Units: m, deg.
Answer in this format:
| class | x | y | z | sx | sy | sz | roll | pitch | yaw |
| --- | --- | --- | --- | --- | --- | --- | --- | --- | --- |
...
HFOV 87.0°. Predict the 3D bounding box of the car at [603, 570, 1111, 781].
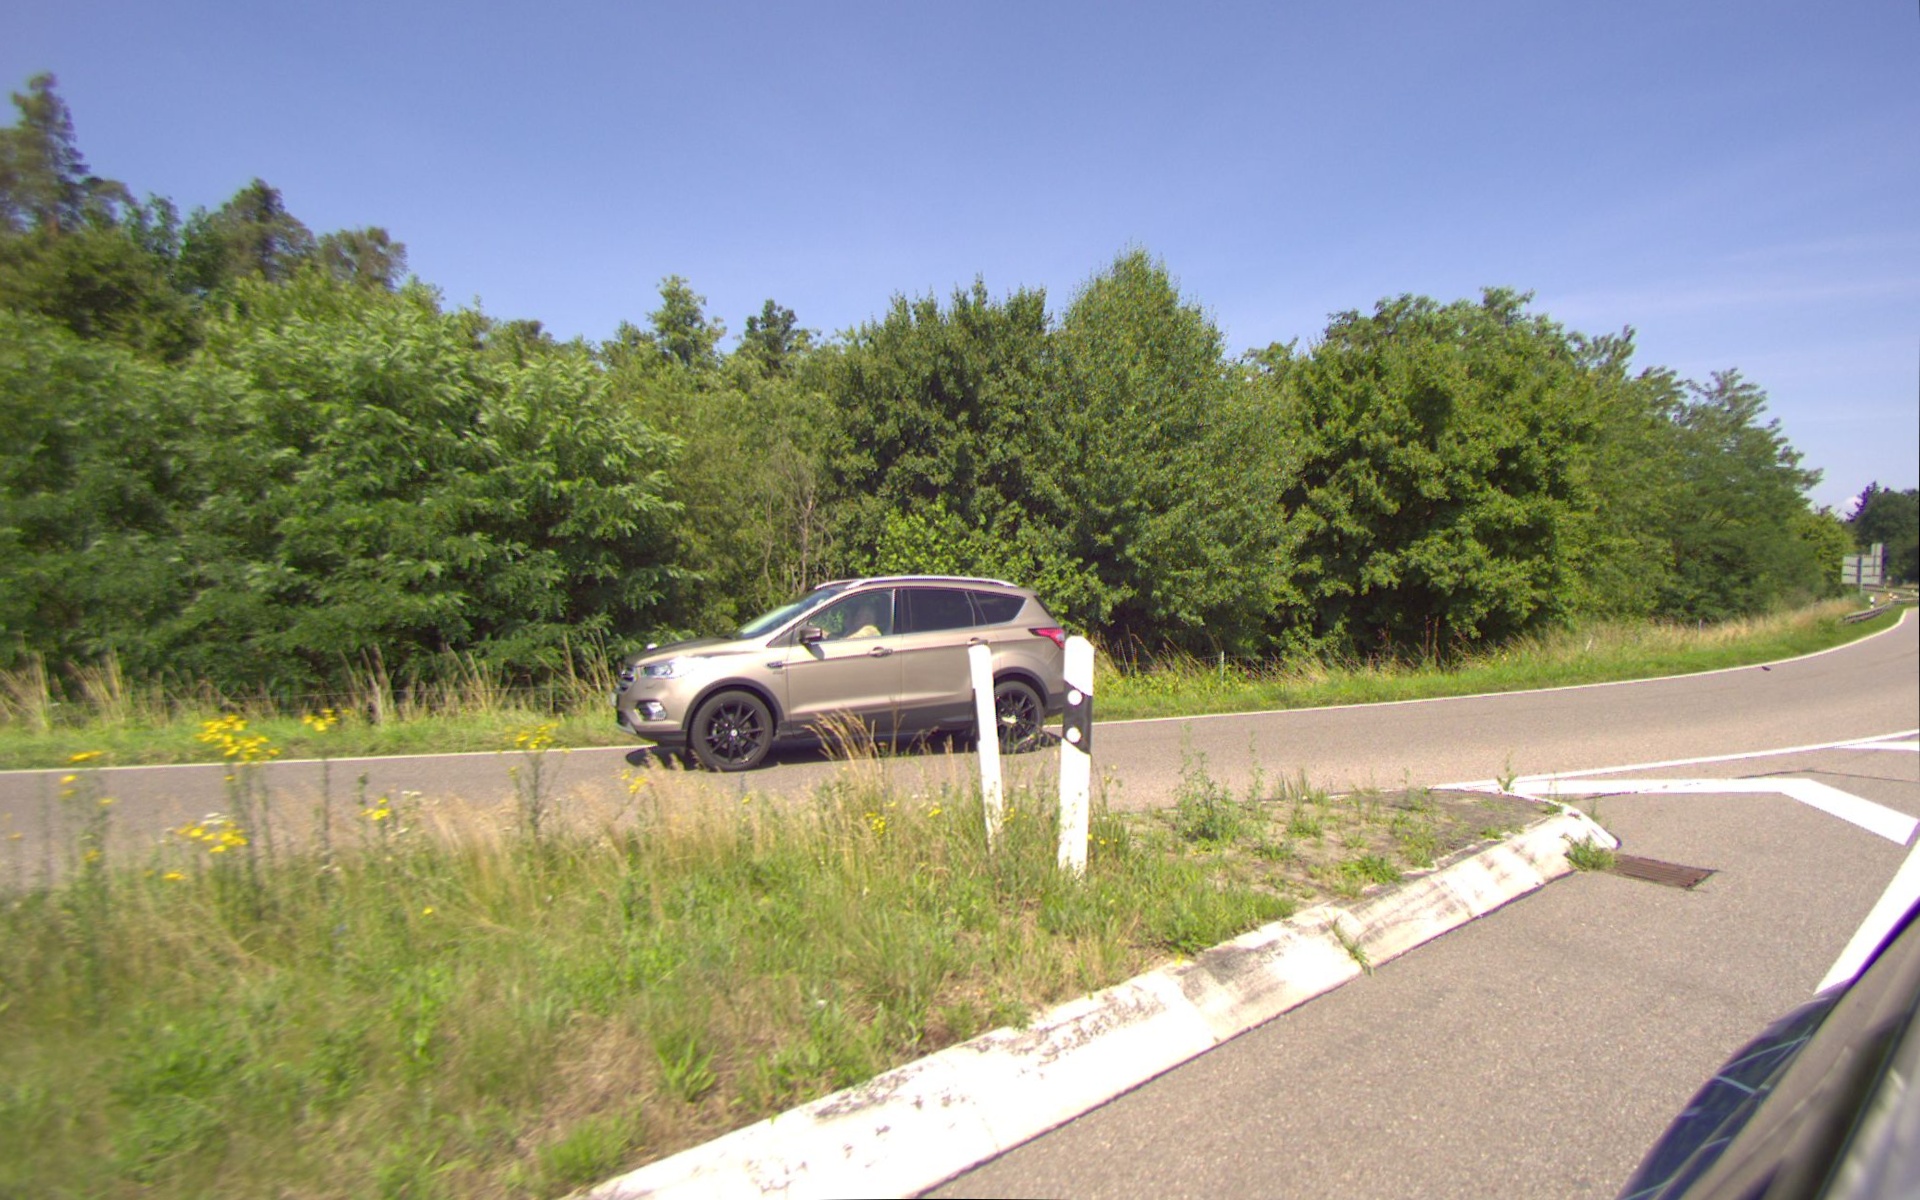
| class | x | y | z | sx | sy | sz | roll | pitch | yaw |
| --- | --- | --- | --- | --- | --- | --- | --- | --- | --- |
| car | -0.990 | 0.600 | 9.908 | 4.569 | 1.687 | 1.903 | 0 | -1 | -24 |
